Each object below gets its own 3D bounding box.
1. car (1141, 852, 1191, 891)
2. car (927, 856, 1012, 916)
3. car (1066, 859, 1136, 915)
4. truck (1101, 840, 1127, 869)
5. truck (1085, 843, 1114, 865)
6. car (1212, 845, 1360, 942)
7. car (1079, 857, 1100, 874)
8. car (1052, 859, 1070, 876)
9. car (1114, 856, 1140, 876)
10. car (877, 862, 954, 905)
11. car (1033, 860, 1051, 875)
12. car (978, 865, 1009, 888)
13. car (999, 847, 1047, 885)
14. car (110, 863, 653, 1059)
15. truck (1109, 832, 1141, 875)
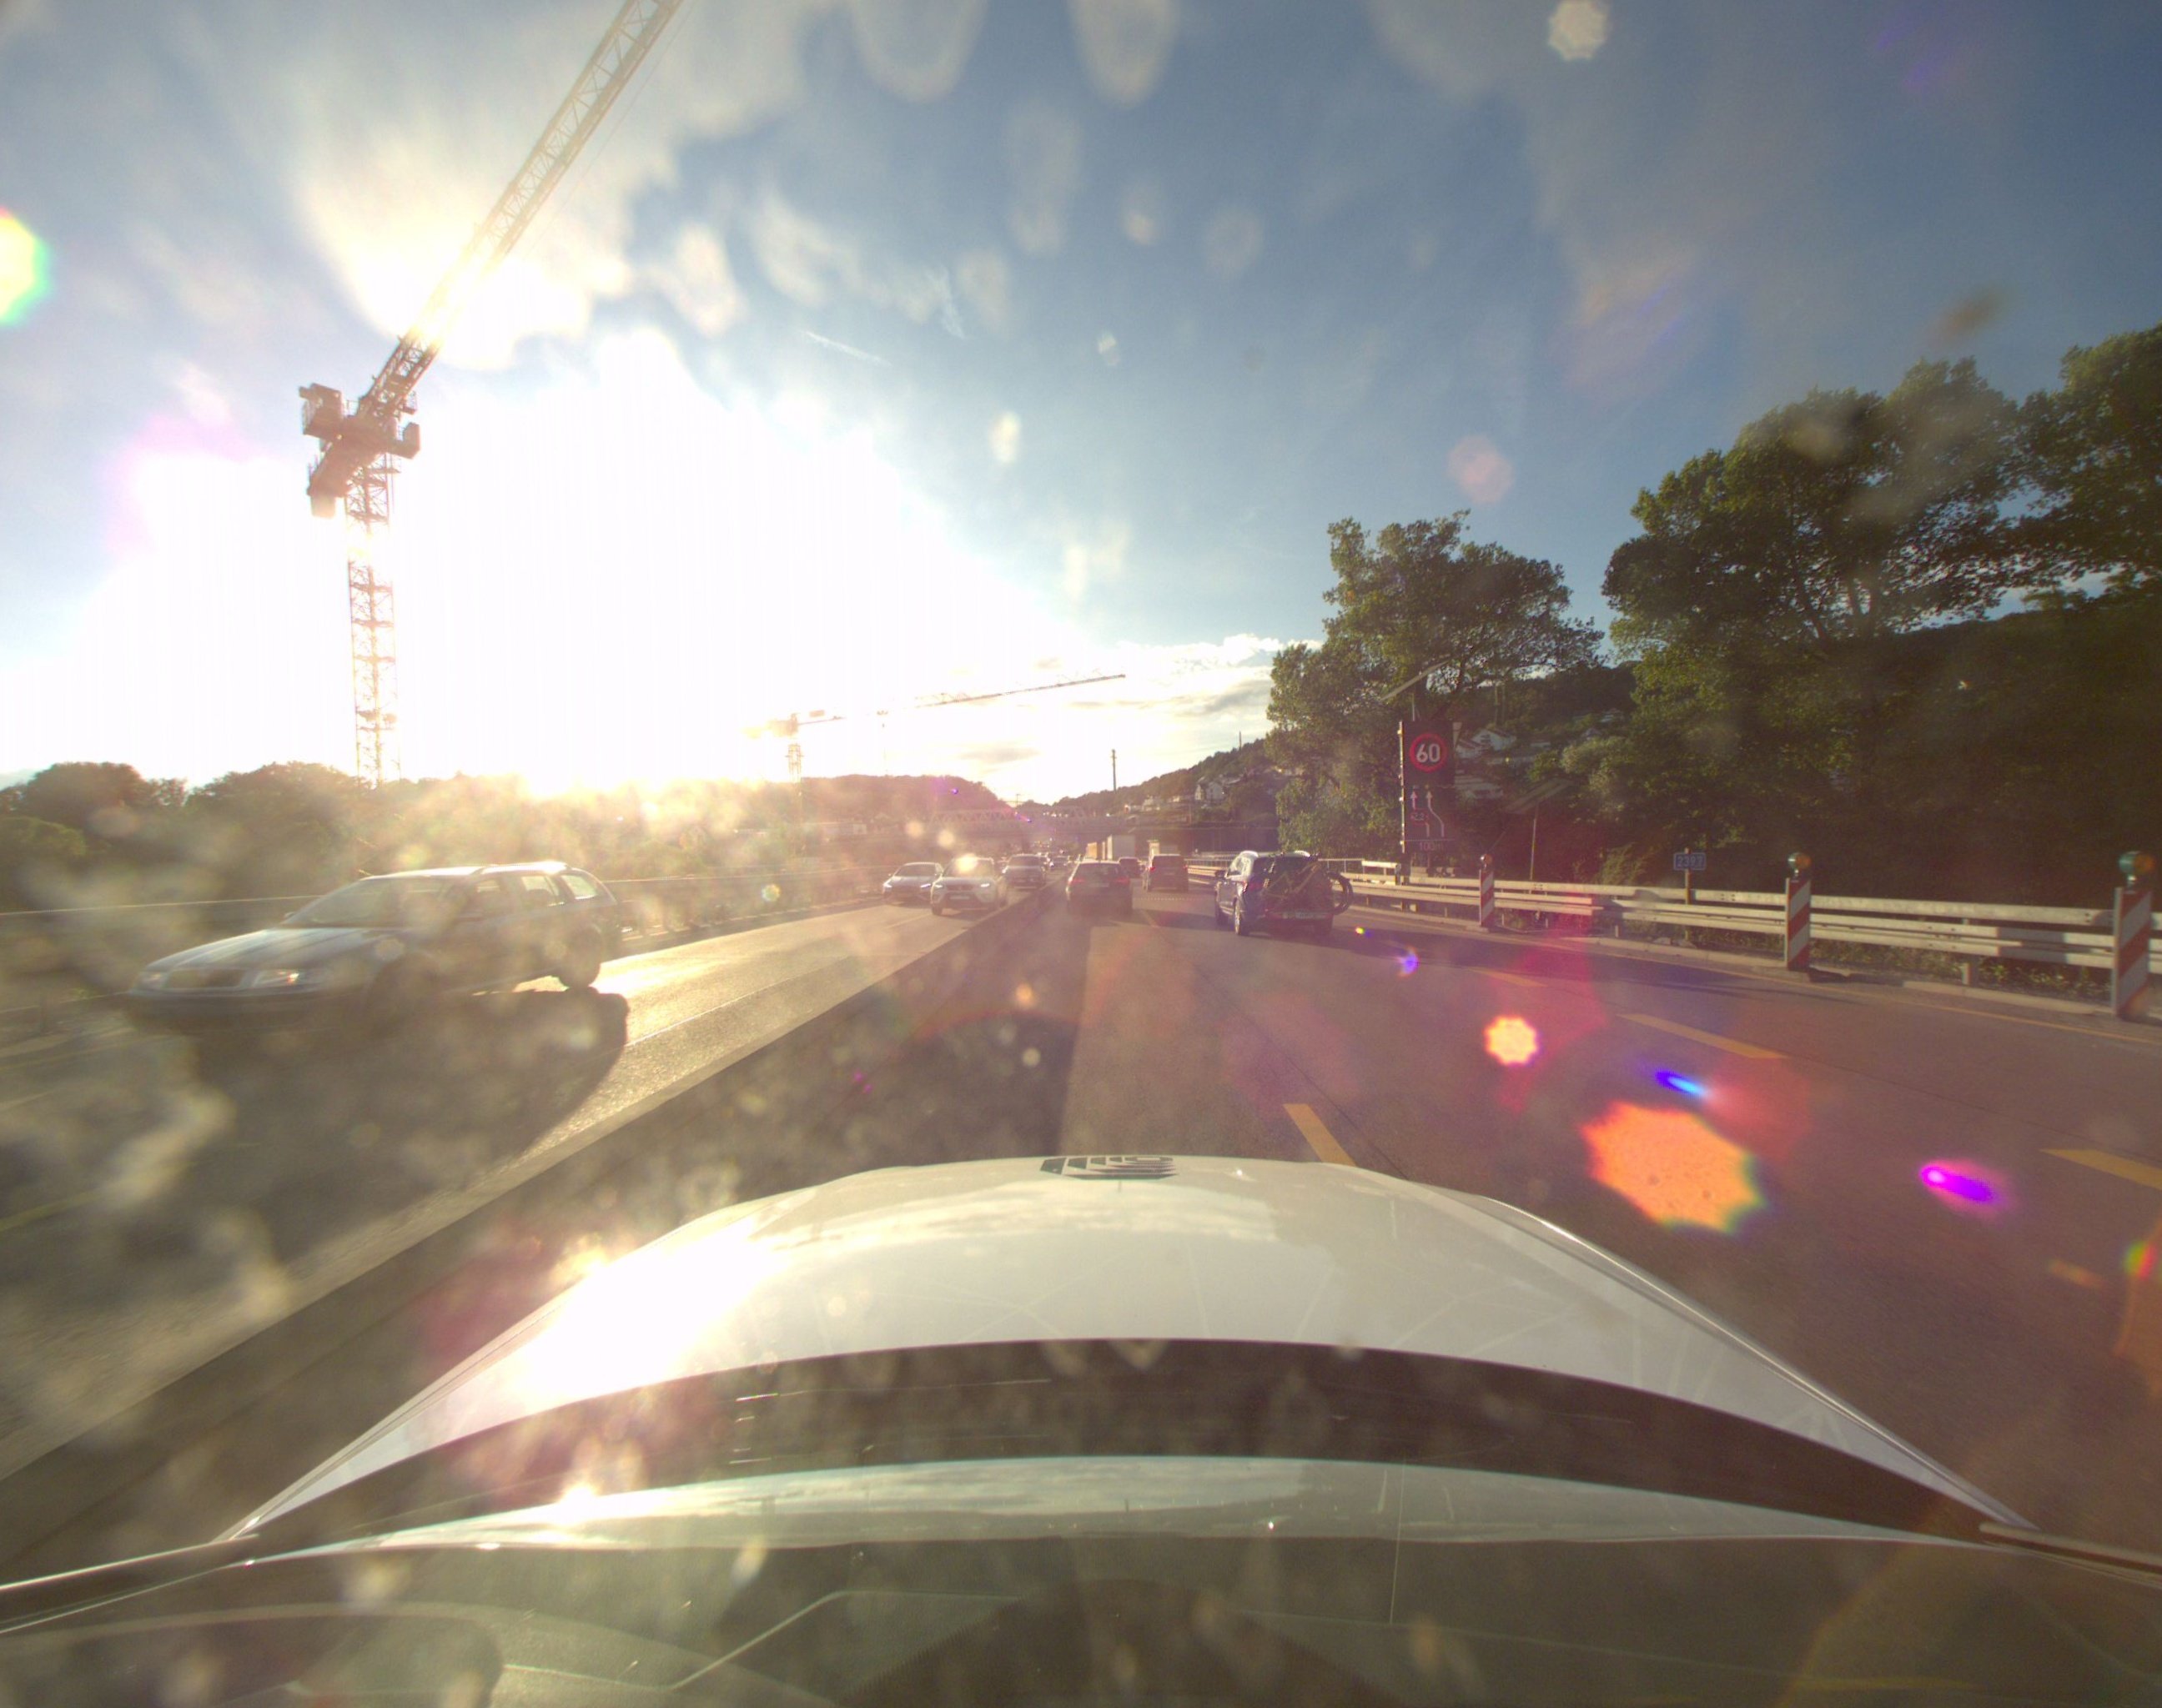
[{"bbox_3d":[3.791,0.759,36.817,1.808,1.632,4.411,-1,0,0],"label":"car"},{"bbox_3d":[-3.050,0.831,23.080,1.798,1.511,4.000,-1,0,0],"label":"car"},{"bbox_3d":[0.485,0.842,22.509,1.765,1.390,3.998,0,0,-1],"label":"car"},{"bbox_3d":[5.398,-0.044,134.843,3.877,4.498,15.269,0,1,1],"label":"truck"},{"bbox_3d":[3.799,-0.137,173.626,3.888,4.498,13.810,0,1,-8],"label":"truck"},{"bbox_3d":[3.852,0.675,16.190,1.868,1.599,4.968,-1,0,2],"label":"car"},{"bbox_3d":[0.757,1.069,74.077,1.760,1.486,3.998,0,0,-1],"label":"car"},{"bbox_3d":[-2.312,1.548,95.007,1.923,1.754,4.670,2,0,-1],"label":"car"},{"bbox_3d":[3.588,0.903,64.256,1.765,1.552,3.998,0,0,-1],"label":"car"},{"bbox_3d":[-5.862,1.022,29.377,1.768,1.382,4.532,-2,-1,1],"label":"car"},{"bbox_3d":[-5.114,1.724,107.153,1.986,1.856,4.284,2,0,2],"label":"car"},{"bbox_3d":[-6.455,1.644,60.547,1.704,1.552,4.001,-2,0,1],"label":"car"},{"bbox_3d":[-2.851,0.591,40.947,1.987,1.758,4.660,-1,0,0],"label":"car"},{"bbox_3d":[-6.620,0.856,8.592,1.671,1.422,4.580,0,0,1],"label":"car"},{"bbox_3d":[4.912,-0.265,93.929,3.373,4.497,15.276,0,2,2],"label":"truck"}]
